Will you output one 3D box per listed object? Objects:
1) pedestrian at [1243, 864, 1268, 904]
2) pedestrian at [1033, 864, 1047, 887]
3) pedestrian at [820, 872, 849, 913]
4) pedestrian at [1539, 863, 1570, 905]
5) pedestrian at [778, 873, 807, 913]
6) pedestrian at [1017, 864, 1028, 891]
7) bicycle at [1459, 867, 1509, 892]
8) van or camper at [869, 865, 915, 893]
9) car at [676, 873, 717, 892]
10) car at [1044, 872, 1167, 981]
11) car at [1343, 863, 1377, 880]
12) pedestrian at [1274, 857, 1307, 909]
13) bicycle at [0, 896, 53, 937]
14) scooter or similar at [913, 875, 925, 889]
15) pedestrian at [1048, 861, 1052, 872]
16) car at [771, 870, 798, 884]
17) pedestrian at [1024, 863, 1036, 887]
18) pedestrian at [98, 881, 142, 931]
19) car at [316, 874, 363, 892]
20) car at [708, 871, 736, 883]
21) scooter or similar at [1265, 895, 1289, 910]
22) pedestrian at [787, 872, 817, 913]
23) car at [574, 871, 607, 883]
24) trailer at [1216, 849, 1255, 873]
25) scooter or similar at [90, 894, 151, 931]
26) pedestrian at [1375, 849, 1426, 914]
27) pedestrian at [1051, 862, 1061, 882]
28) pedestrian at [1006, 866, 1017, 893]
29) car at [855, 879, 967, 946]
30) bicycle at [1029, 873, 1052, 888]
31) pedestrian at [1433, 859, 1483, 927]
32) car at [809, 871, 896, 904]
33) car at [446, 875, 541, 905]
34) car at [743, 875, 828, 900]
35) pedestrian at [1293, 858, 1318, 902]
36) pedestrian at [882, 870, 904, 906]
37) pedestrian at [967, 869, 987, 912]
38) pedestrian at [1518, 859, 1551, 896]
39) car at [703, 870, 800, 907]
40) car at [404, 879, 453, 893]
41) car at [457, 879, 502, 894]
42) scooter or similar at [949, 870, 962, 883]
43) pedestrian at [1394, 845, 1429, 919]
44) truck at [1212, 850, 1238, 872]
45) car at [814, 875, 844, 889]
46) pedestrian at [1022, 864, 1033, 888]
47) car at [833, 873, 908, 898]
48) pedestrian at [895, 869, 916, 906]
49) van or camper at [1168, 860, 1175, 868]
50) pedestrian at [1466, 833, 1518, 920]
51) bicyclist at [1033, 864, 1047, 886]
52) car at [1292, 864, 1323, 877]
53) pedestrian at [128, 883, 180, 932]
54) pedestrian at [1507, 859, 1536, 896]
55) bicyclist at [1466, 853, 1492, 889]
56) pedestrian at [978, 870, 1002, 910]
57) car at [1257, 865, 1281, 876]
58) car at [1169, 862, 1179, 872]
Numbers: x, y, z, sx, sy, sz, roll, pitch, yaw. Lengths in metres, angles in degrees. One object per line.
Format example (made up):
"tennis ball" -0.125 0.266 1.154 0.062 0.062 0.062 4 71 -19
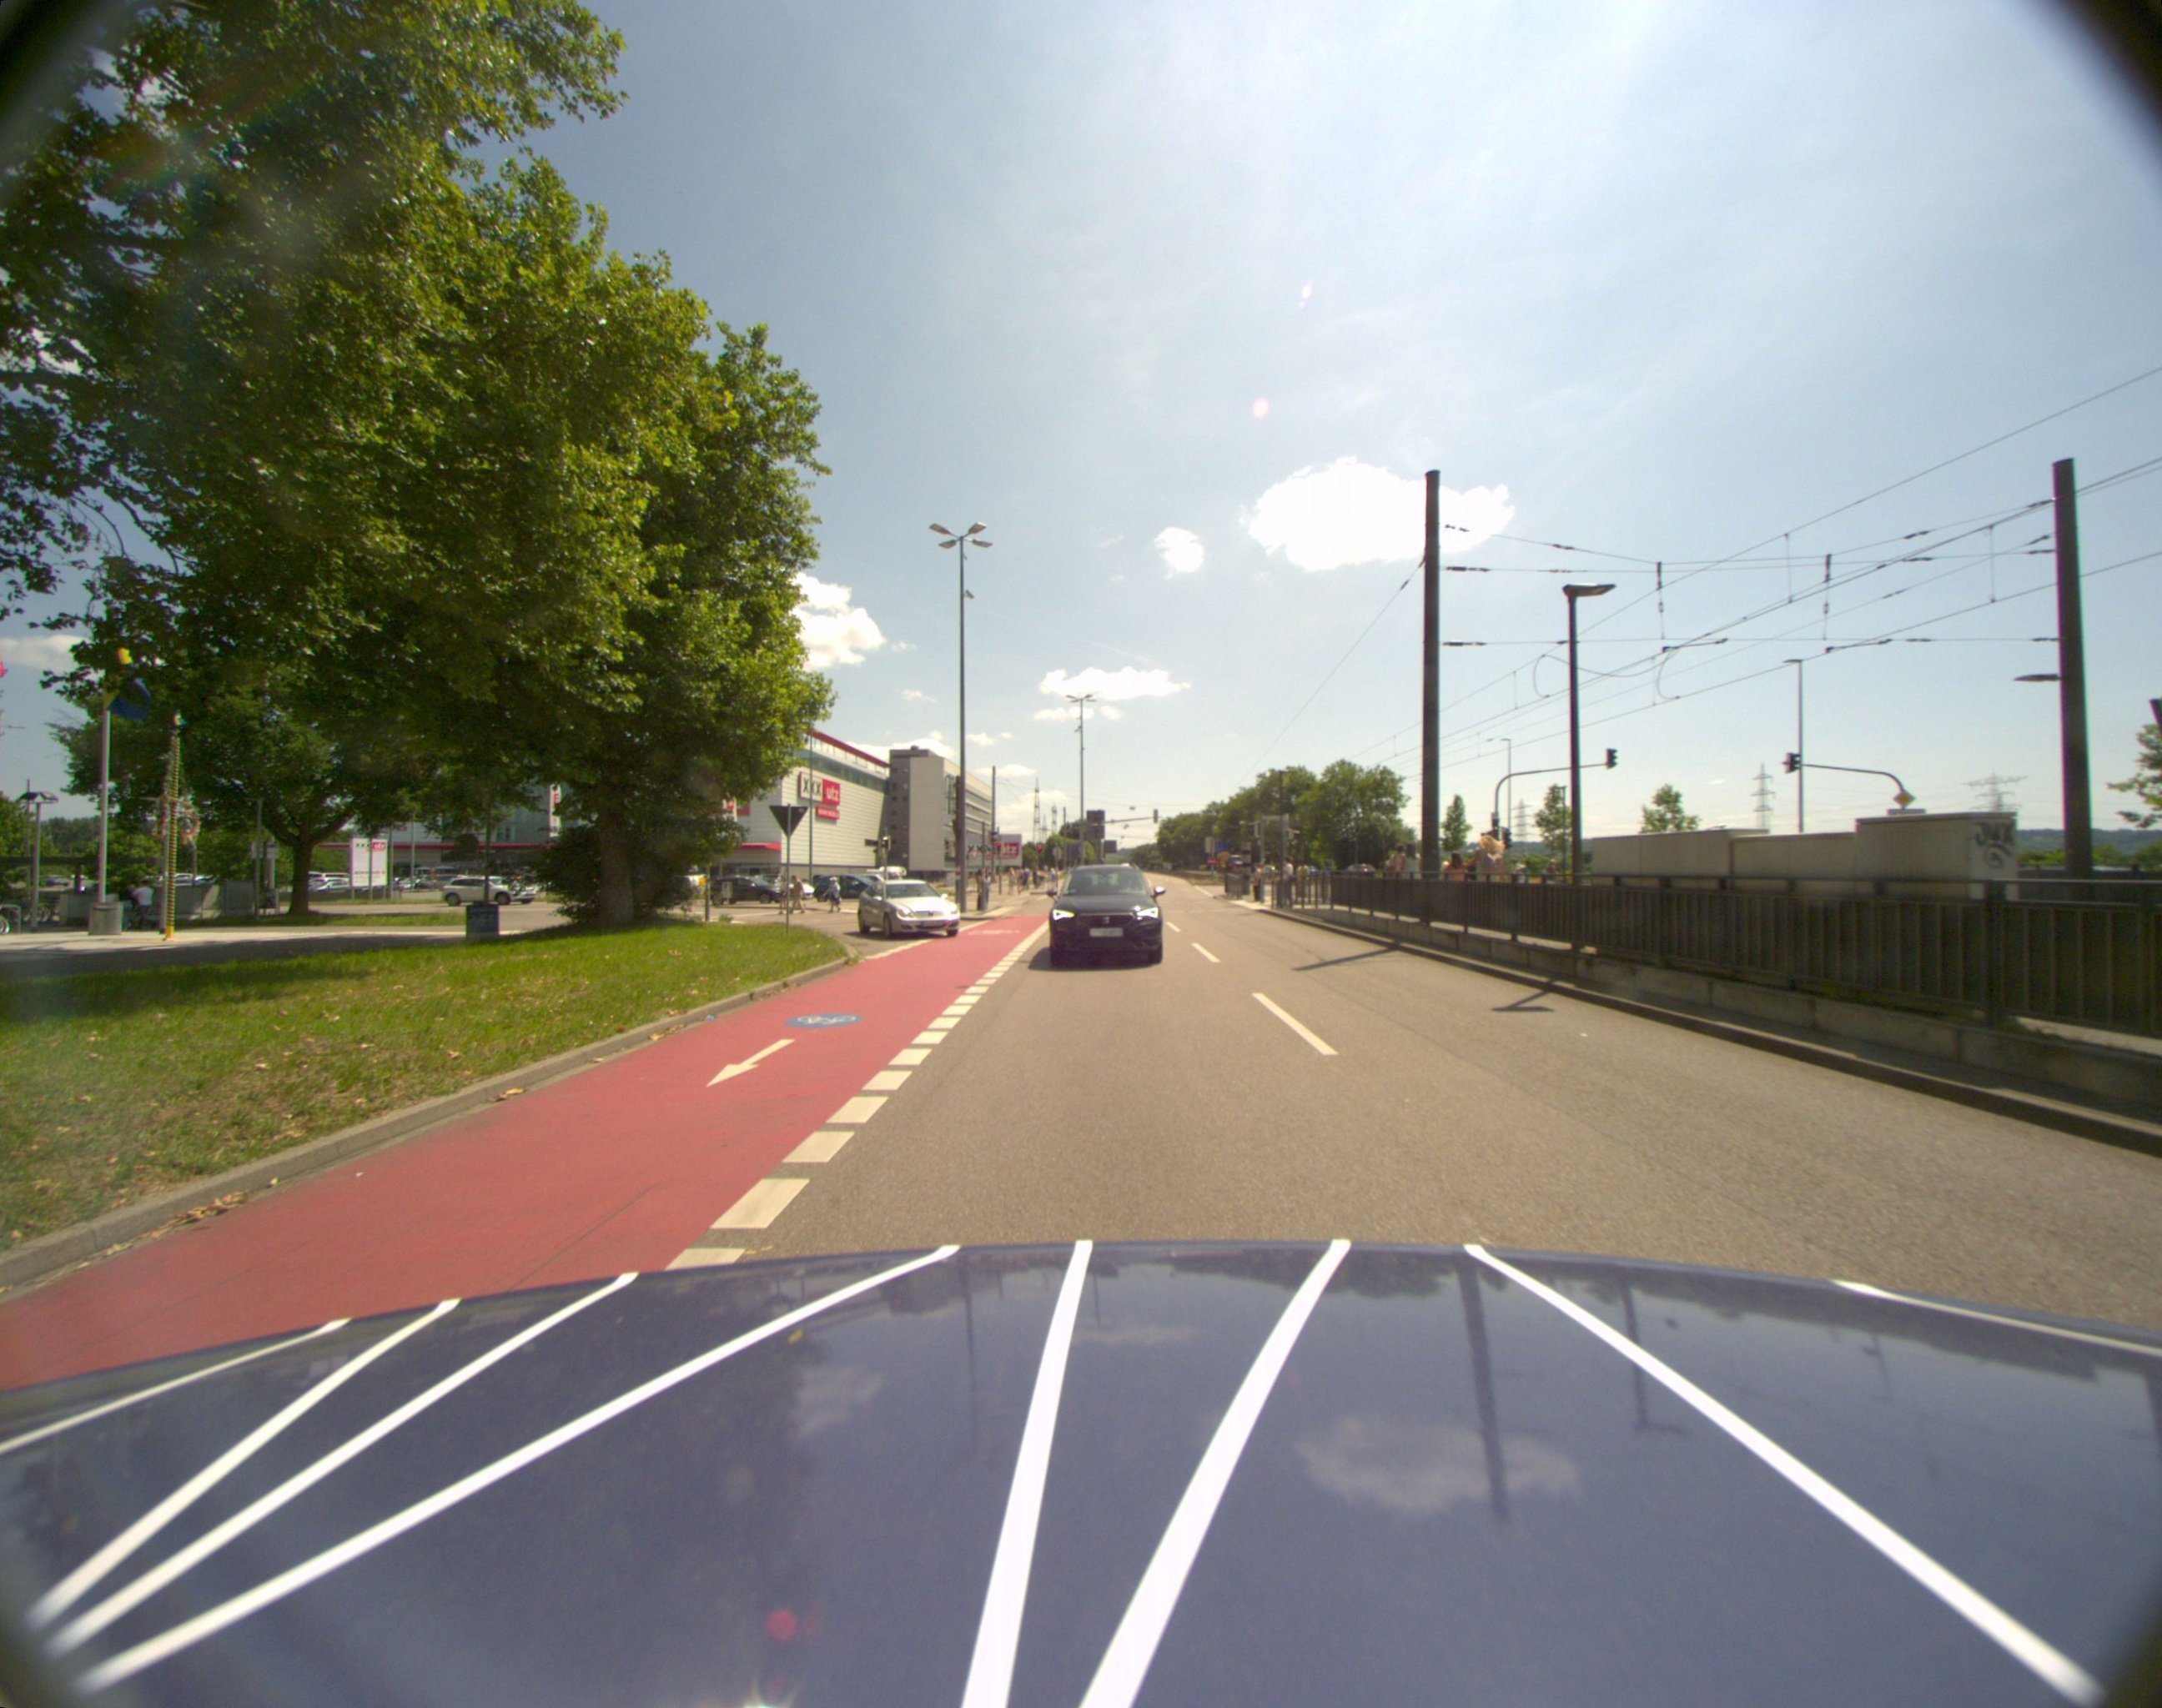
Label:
"pedestrian" 7.087 1.211 30.936 0.787 1.563 0.764 -1 0 -1
"pedestrian" -3.265 1.701 60.143 0.807 1.749 0.796 -1 0 -26
"pedestrian" -10.337 1.609 31.878 0.795 1.649 0.853 -1 0 23
"pedestrian" 19.078 1.194 30.619 0.763 1.662 0.764 -1 -1 0
"pedestrian" -12.263 1.656 32.305 0.796 1.649 0.853 -1 0 19
"pedestrian" -3.523 1.417 45.823 0.528 1.656 0.640 -1 0 6
"bicycle" 18.304 1.156 34.554 1.979 1.094 0.764 -1 0 -13
"van or camper" -21.621 2.771 87.402 2.714 2.928 7.617 -2 0 6
"car" -45.599 3.398 90.320 1.998 2.002 4.967 -2 0 5
"car" 0.488 1.126 13.330 1.819 1.582 4.002 -1 -1 4
"car" 27.457 1.703 74.915 1.998 1.619 4.311 -1 -1 3
"pedestrian" 7.430 1.027 26.953 0.865 1.791 0.883 -1 0 -2
"bicycle" -31.134 1.801 21.622 0.803 1.138 2.431 -1 -1 -11
"scooter or similar" -14.788 2.543 69.446 0.479 1.283 1.281 -2 0 21
"pedestrian" -5.253 2.146 129.173 0.518 1.782 0.634 -1 0 3
"car" -45.596 3.524 116.938 1.998 1.910 4.522 -2 -1 4
"pedestrian" -4.078 1.687 60.663 0.805 1.854 0.798 -1 0 6
"pedestrian" -31.232 1.690 24.692 0.611 1.576 0.633 -1 0 -3
"car" -89.468 3.494 91.707 1.544 2.001 4.002 -1 -1 4
"car" -55.247 3.533 116.971 1.998 1.682 4.521 -1 -1 2
"scooter or similar" 6.914 1.706 26.766 0.728 0.503 0.457 -1 -1 -1
"pedestrian" -11.622 1.592 31.659 0.796 1.649 0.853 -1 0 19
"car" -65.425 3.008 101.383 1.693 1.518 4.001 -1 -1 3
"trailer" 26.495 1.308 130.940 3.123 3.847 15.483 -1 -1 -2
"scooter or similar" -31.988 1.936 25.316 1.076 1.191 0.728 -1 0 0
"pedestrian" 8.054 0.693 19.199 0.892 1.595 0.924 -1 -1 1
"pedestrian" -1.863 1.321 57.131 0.591 1.467 0.806 -2 0 -8
"pedestrian" -4.161 1.534 45.599 0.528 1.570 0.612 -1 0 6
"car" -4.465 1.394 19.430 1.734 1.410 4.313 -2 0 -27
"bicycle" -3.267 2.135 61.479 0.833 1.155 1.874 0 -2 -43
"pedestrian" 7.587 0.771 15.321 0.615 1.337 0.720 -1 0 0
"car" -12.236 1.768 40.842 3.995 1.547 2.000 -2 2 6
"car" -34.197 2.103 44.302 4.077 1.630 2.001 -1 -1 3
"car" -17.157 1.933 44.203 4.227 1.389 1.805 -1 -1 9
"pedestrian" 8.729 0.998 29.564 0.734 1.663 0.678 -1 0 -1
"pedestrian" -8.795 1.575 35.557 0.603 1.628 0.864 -1 1 12
"pedestrian" -4.139 1.439 30.291 0.725 1.673 0.625 -1 0 -2
"pedestrian" 19.738 1.028 33.074 0.959 1.600 0.764 -1 -1 0
"car" -17.616 1.877 40.746 4.411 1.432 1.856 -5 -8 1
"car" -78.277 3.824 91.211 1.858 1.404 4.258 -1 -1 6
"car" -73.065 3.969 92.376 1.852 1.692 4.174 -1 -1 6
"scooter or similar" -12.280 2.220 74.183 0.479 1.120 1.281 -2 3 31
"pedestrian" 7.133 0.597 16.395 0.498 1.568 0.557 -1 0 1
"truck" 26.312 1.312 139.300 3.134 4.014 7.475 -1 -1 -1
"car" -33.101 3.633 99.941 1.998 1.707 4.505 -2 0 5
"pedestrian" -3.837 1.583 54.553 0.784 1.662 0.946 -1 -1 -5
"car" -12.164 1.818 44.066 3.833 1.388 1.804 -1 -1 2
"pedestrian" -8.179 1.556 35.477 0.607 1.628 0.864 -1 1 12
"van or camper" 30.557 3.496 257.291 1.997 2.571 5.849 1 0 9
"pedestrian" 8.214 0.445 15.200 0.615 1.671 0.720 -1 0 0
"bicyclist" -3.350 1.695 61.581 0.818 1.690 0.797 0 -1 -44
"car" 26.450 1.943 88.707 1.999 1.436 4.348 -1 -1 -5
"pedestrian" -30.945 1.780 25.375 0.920 1.576 0.633 -1 0 -3
"pedestrian" 18.690 1.012 32.241 0.763 1.539 0.764 -1 -1 0
"bicyclist" 18.064 0.783 34.487 0.666 1.605 0.733 -1 0 -14
"pedestrian" -3.715 1.471 31.087 0.896 1.596 0.767 -1 0 -2
"car" 26.418 2.326 106.859 2.000 1.454 4.277 -1 -1 -7
"car" 24.194 3.281 197.466 1.998 1.825 4.441 5 -8 3
